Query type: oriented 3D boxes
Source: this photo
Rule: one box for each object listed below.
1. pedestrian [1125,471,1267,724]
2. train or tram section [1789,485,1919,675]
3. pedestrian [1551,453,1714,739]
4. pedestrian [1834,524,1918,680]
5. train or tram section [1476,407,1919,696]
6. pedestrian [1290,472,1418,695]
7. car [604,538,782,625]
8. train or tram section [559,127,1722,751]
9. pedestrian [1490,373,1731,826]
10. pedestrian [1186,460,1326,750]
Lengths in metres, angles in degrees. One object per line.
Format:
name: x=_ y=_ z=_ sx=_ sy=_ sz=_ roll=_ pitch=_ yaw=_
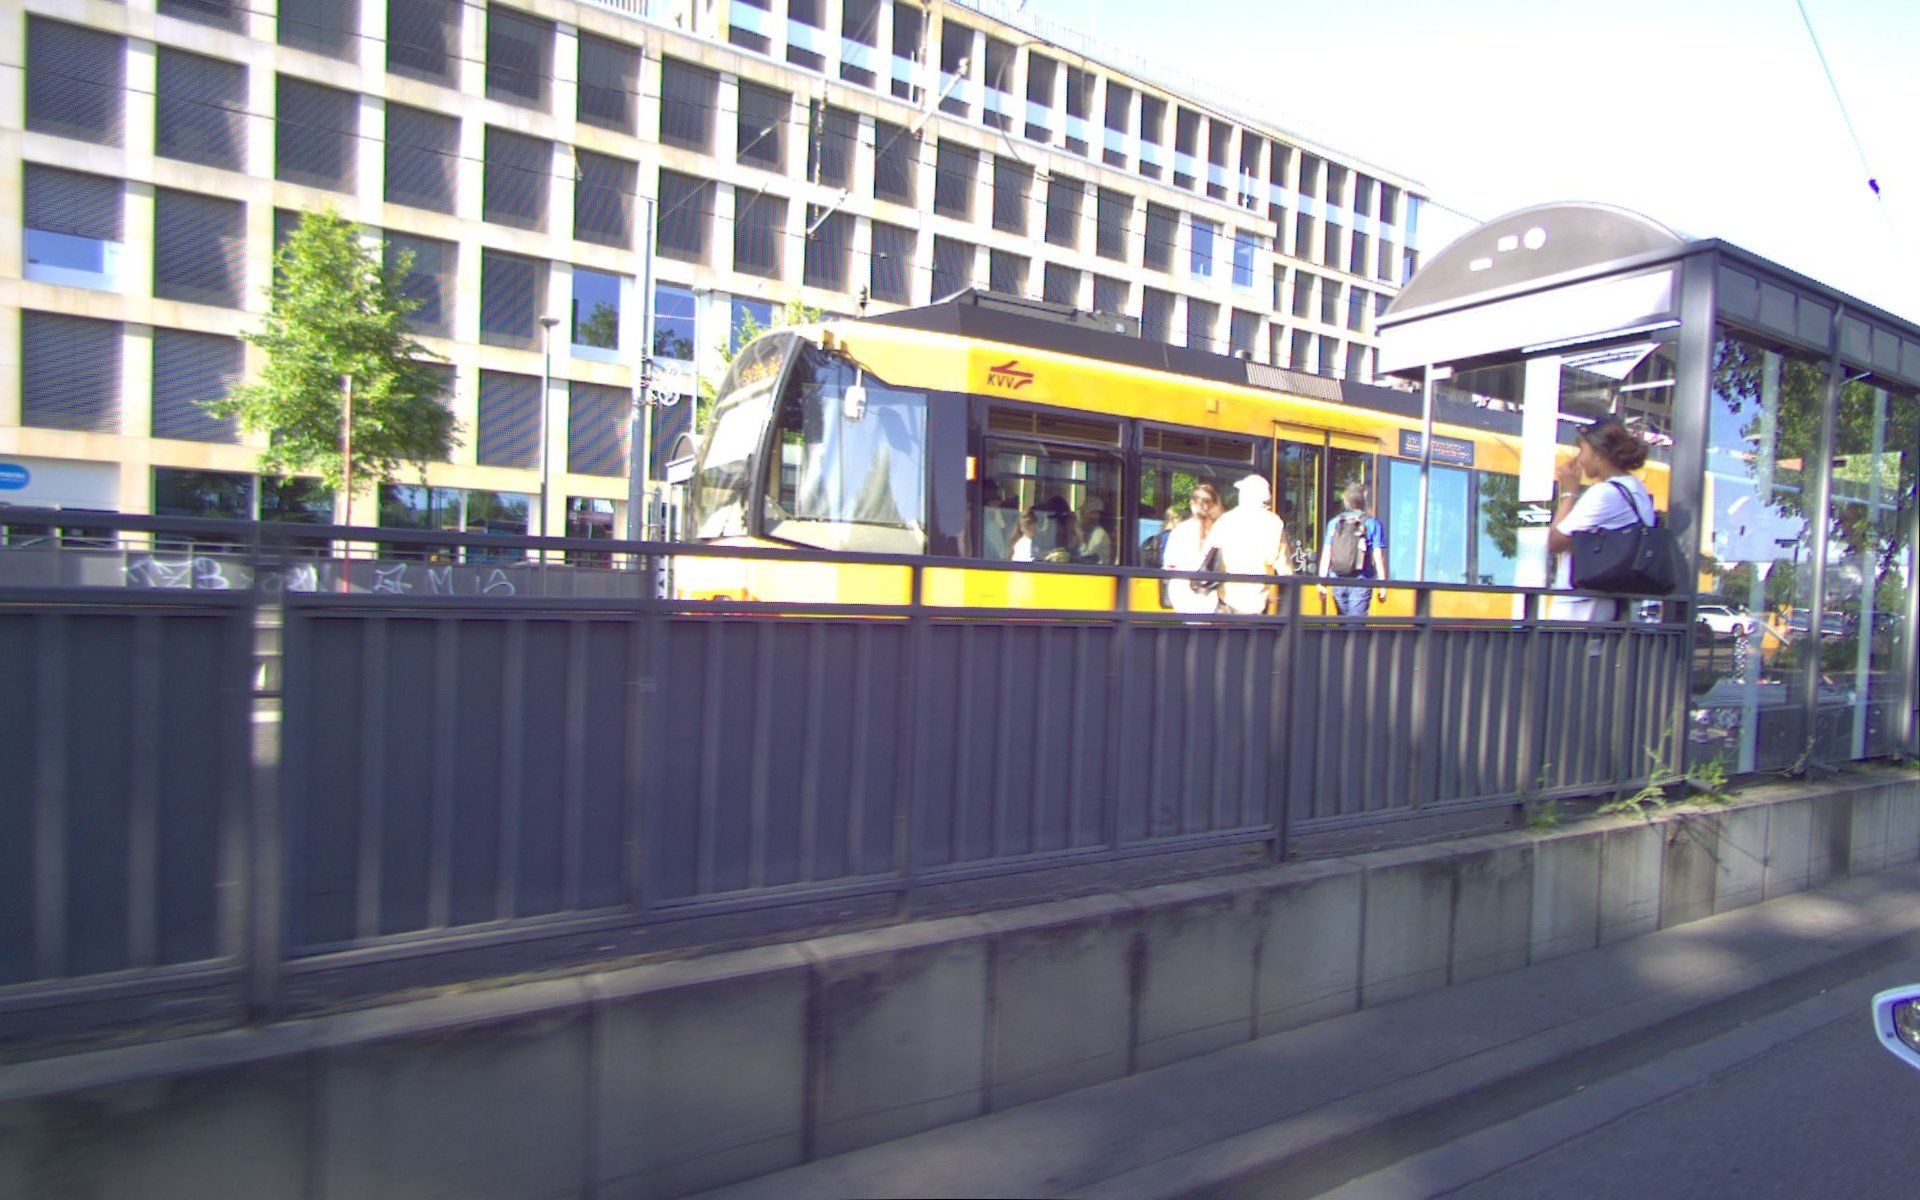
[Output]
pedestrian: x=1.789 y=-0.021 z=7.669 sx=0.618 sy=1.808 sz=0.789 roll=1 pitch=2 yaw=-30
train or tram section: x=24.453 y=-0.290 z=23.971 sx=11.706 sy=3.881 sz=3.292 roll=2 pitch=2 yaw=-31
pedestrian: x=4.524 y=-0.024 z=6.768 sx=0.673 sy=1.808 sz=0.607 roll=1 pitch=2 yaw=-30
pedestrian: x=11.656 y=0.027 z=12.788 sx=0.636 sy=1.930 sz=0.550 roll=1 pitch=2 yaw=-30
train or tram section: x=14.348 y=-0.569 z=17.932 sx=11.706 sy=3.881 sz=3.292 roll=2 pitch=2 yaw=-31
pedestrian: x=3.358 y=-0.132 z=8.575 sx=0.766 sy=1.808 sz=0.608 roll=1 pitch=2 yaw=-30
car: x=-6.768 y=-0.448 z=25.566 sx=3.956 sy=2.041 sz=1.982 roll=1 pitch=2 yaw=-33
train or tram section: x=3.252 y=-0.884 z=11.291 sx=14.054 sy=3.881 sz=3.292 roll=2 pitch=2 yaw=-31
pedestrian: x=2.852 y=0.001 z=4.426 sx=0.606 sy=1.808 sz=0.608 roll=1 pitch=2 yaw=-30
pedestrian: x=1.982 y=0.015 z=6.698 sx=0.780 sy=1.808 sz=0.649 roll=3 pitch=2 yaw=20
